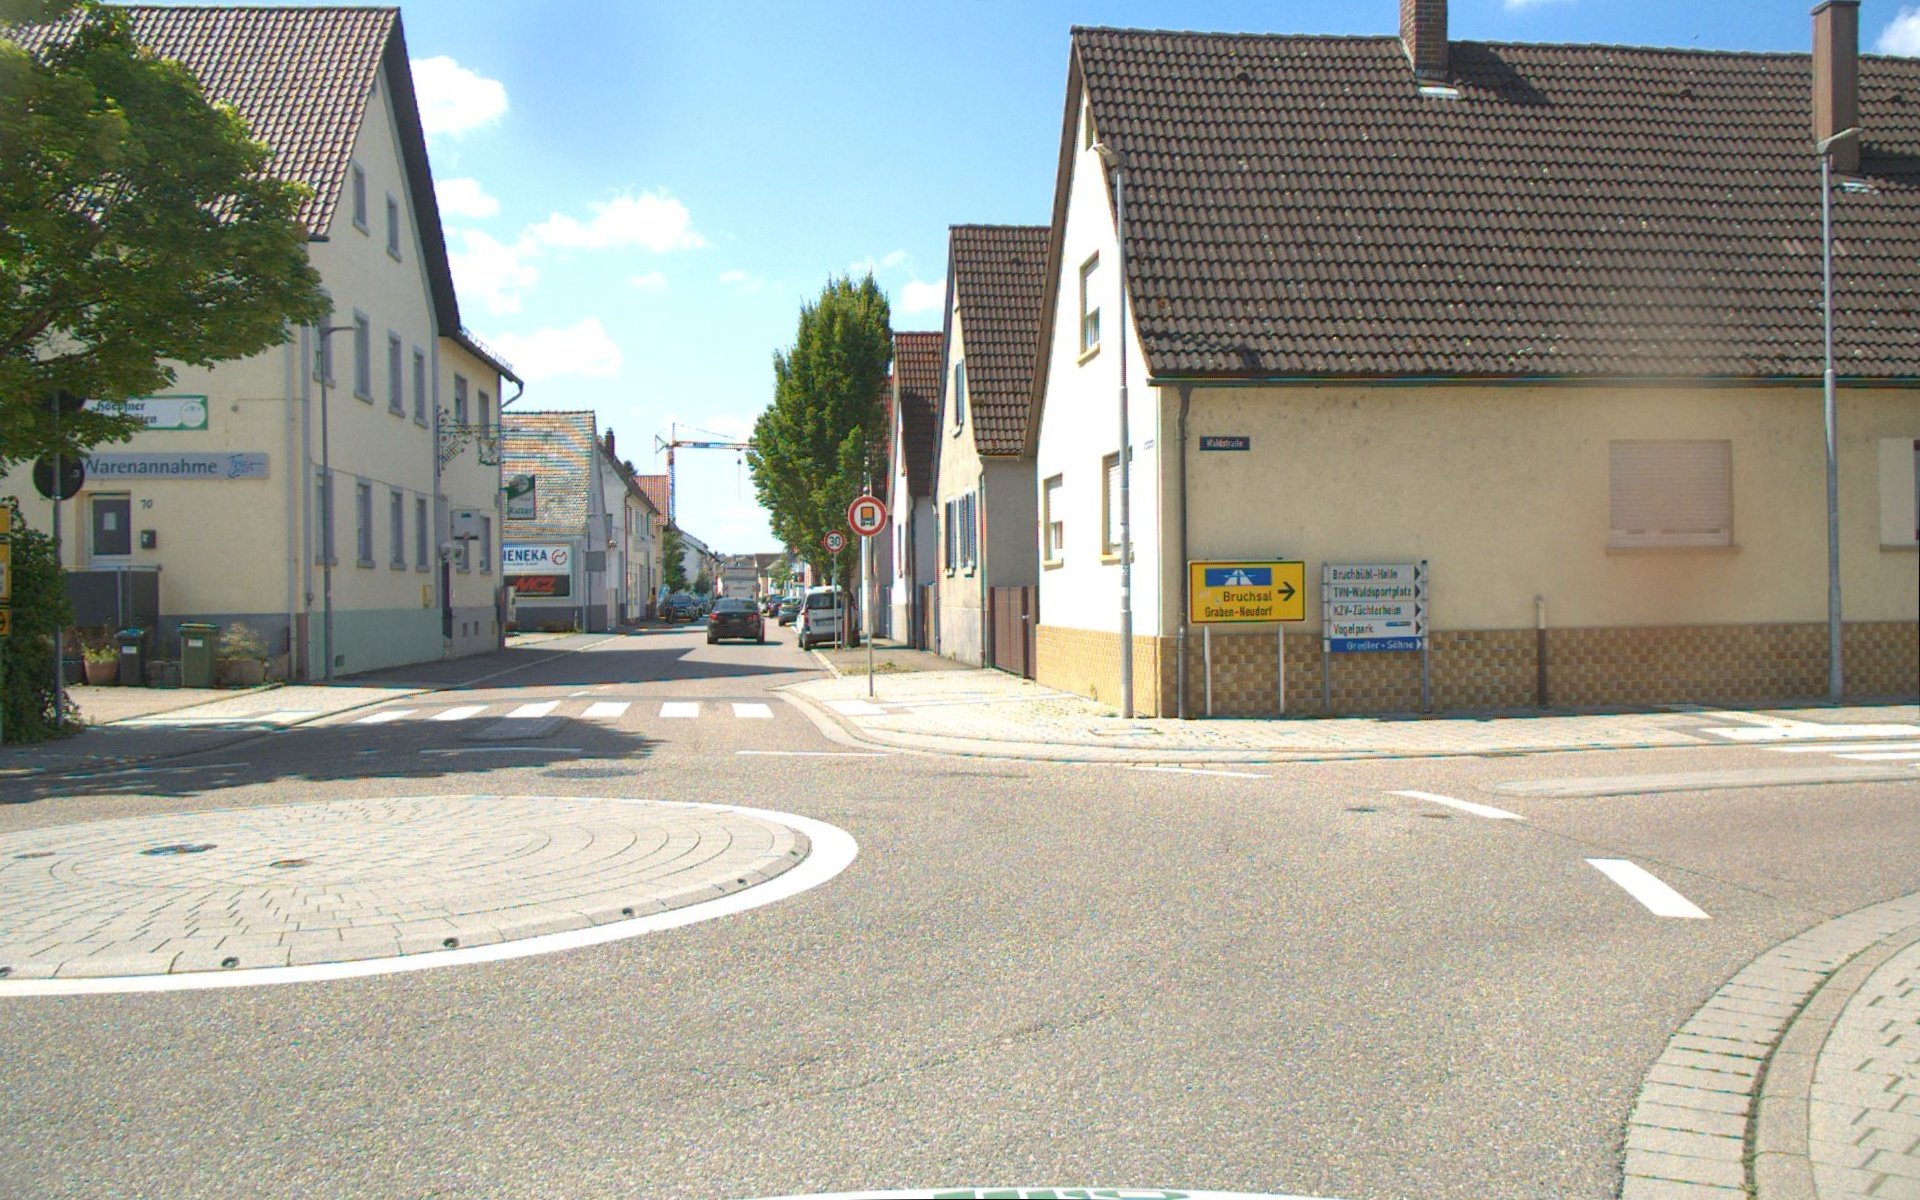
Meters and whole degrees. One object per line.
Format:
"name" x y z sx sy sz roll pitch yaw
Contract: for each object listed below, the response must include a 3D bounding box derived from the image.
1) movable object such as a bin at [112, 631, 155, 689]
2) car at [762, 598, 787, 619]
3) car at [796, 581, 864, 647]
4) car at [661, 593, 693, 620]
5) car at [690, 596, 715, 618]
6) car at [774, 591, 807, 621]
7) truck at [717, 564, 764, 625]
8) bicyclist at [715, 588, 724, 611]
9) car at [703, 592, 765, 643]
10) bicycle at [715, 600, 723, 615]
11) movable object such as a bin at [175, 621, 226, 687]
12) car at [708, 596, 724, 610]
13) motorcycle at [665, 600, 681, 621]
"movable object such as a bin" -13.969 1.010 27.967 0.469 0.944 0.546 -1 0 -5
"car" -12.821 0.590 114.181 1.687 1.379 4.150 0 0 -7
"car" -3.951 0.393 49.829 1.688 1.821 4.135 -2 0 -9
"car" -17.009 0.389 99.605 1.775 1.617 3.993 0 0 -8
"car" -19.345 0.534 124.478 1.775 1.617 3.993 0 0 -8
"car" -8.799 0.307 86.035 1.686 1.487 4.151 0 0 -6
"truck" -16.180 -0.345 122.602 3.084 4.325 9.289 1 -1 -6
"bicyclist" -21.896 -0.057 150.507 0.726 2.095 0.842 1 -1 -9
"car" -7.403 0.529 54.471 1.865 1.591 4.470 0 0 -6
"bicycle" -21.919 0.672 150.519 0.737 1.331 2.680 1 -1 -8
"movable object such as a bin" -12.976 0.919 28.282 0.588 1.097 0.658 -1 0 -5
"car" -28.637 0.329 193.892 1.775 1.617 3.993 0 0 -8
"motorcycle" -16.610 0.586 95.647 0.830 1.190 2.464 1 -1 -8
